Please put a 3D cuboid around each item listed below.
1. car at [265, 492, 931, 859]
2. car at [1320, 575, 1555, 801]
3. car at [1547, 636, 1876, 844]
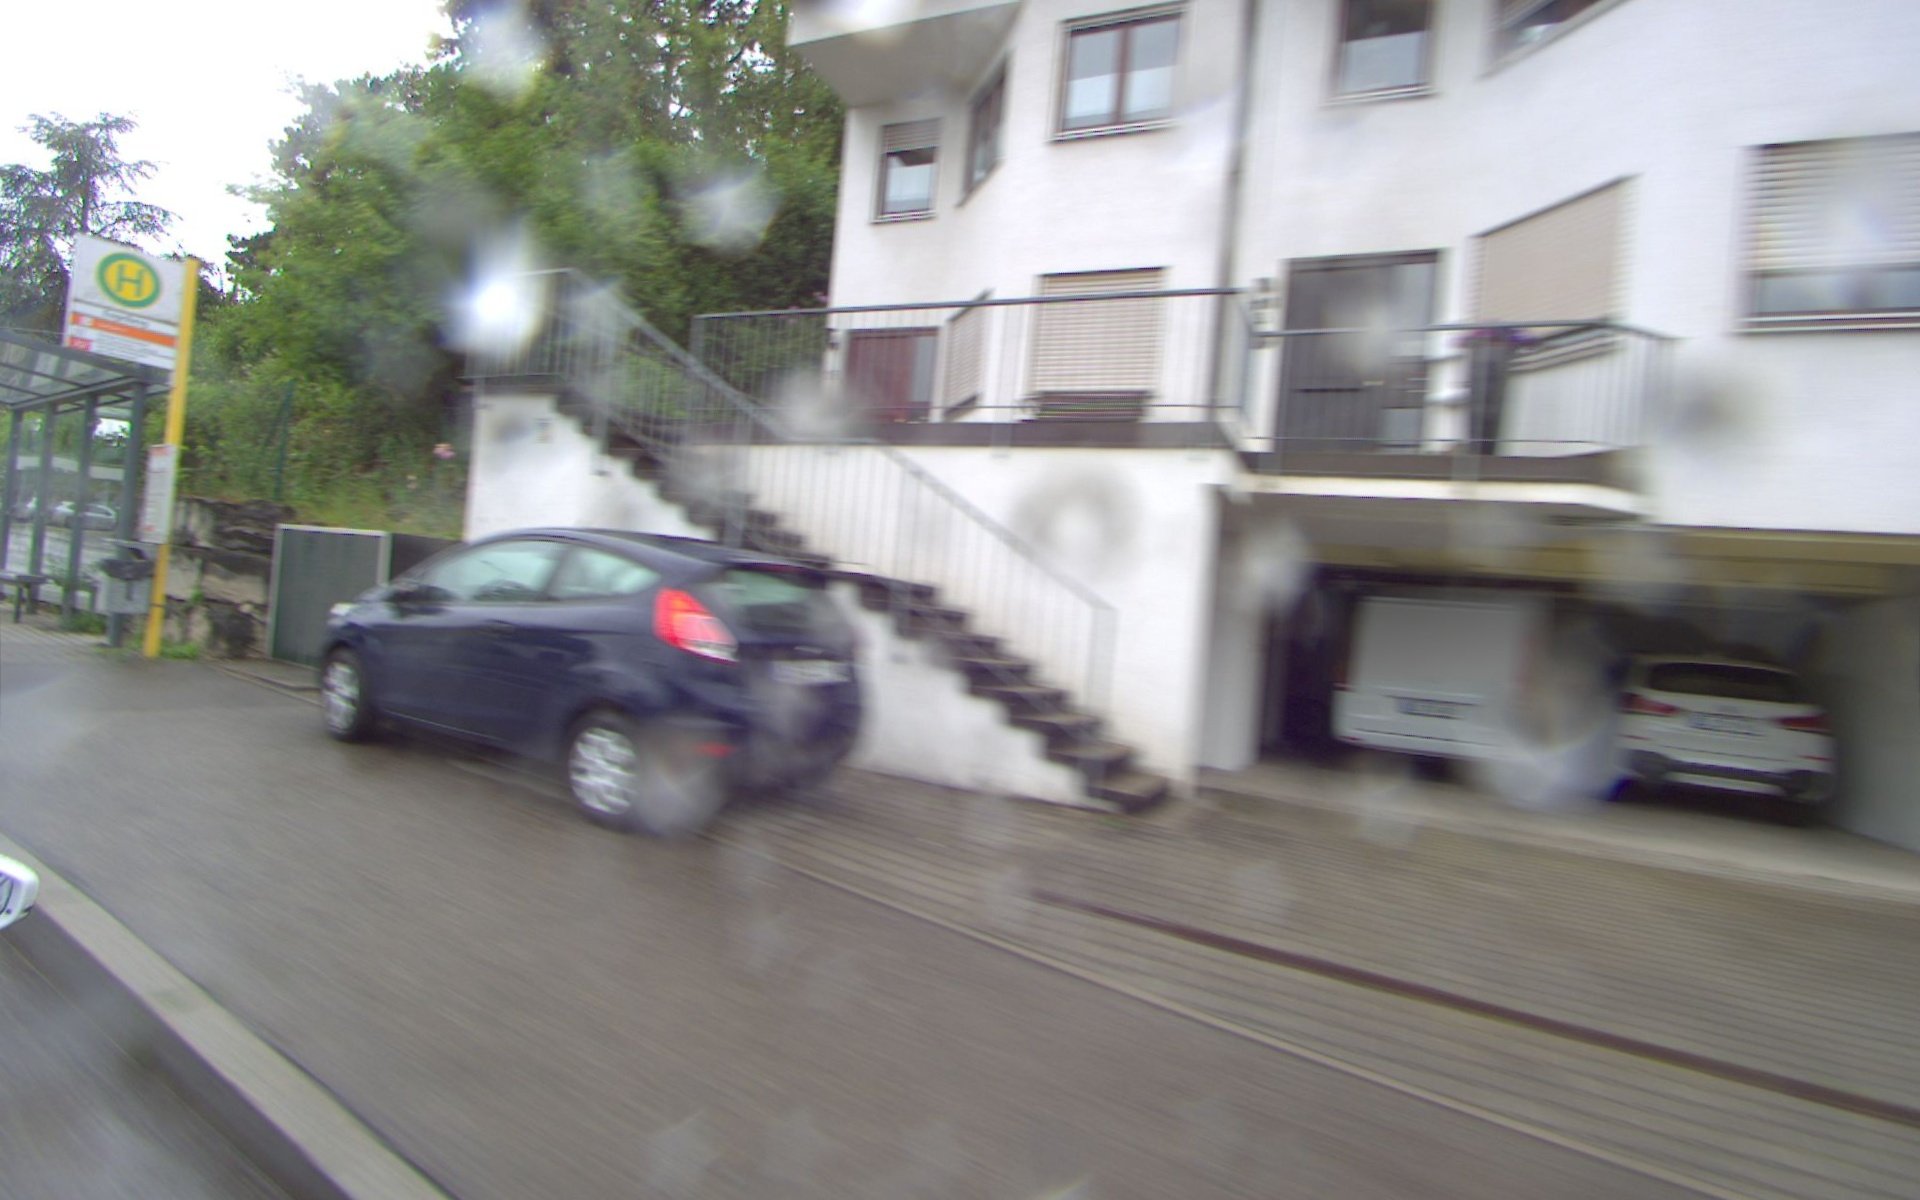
[{"bbox_3d":[-2.349,0.260,6.239,3.953,1.473,1.705,7,2,31],"label":"car"},{"bbox_3d":[5.480,0.986,11.778,1.894,1.976,4.000,7,-2,24],"label":"car"},{"bbox_3d":[7.895,1.409,11.049,1.894,1.599,4.000,7,-2,24],"label":"car"}]
